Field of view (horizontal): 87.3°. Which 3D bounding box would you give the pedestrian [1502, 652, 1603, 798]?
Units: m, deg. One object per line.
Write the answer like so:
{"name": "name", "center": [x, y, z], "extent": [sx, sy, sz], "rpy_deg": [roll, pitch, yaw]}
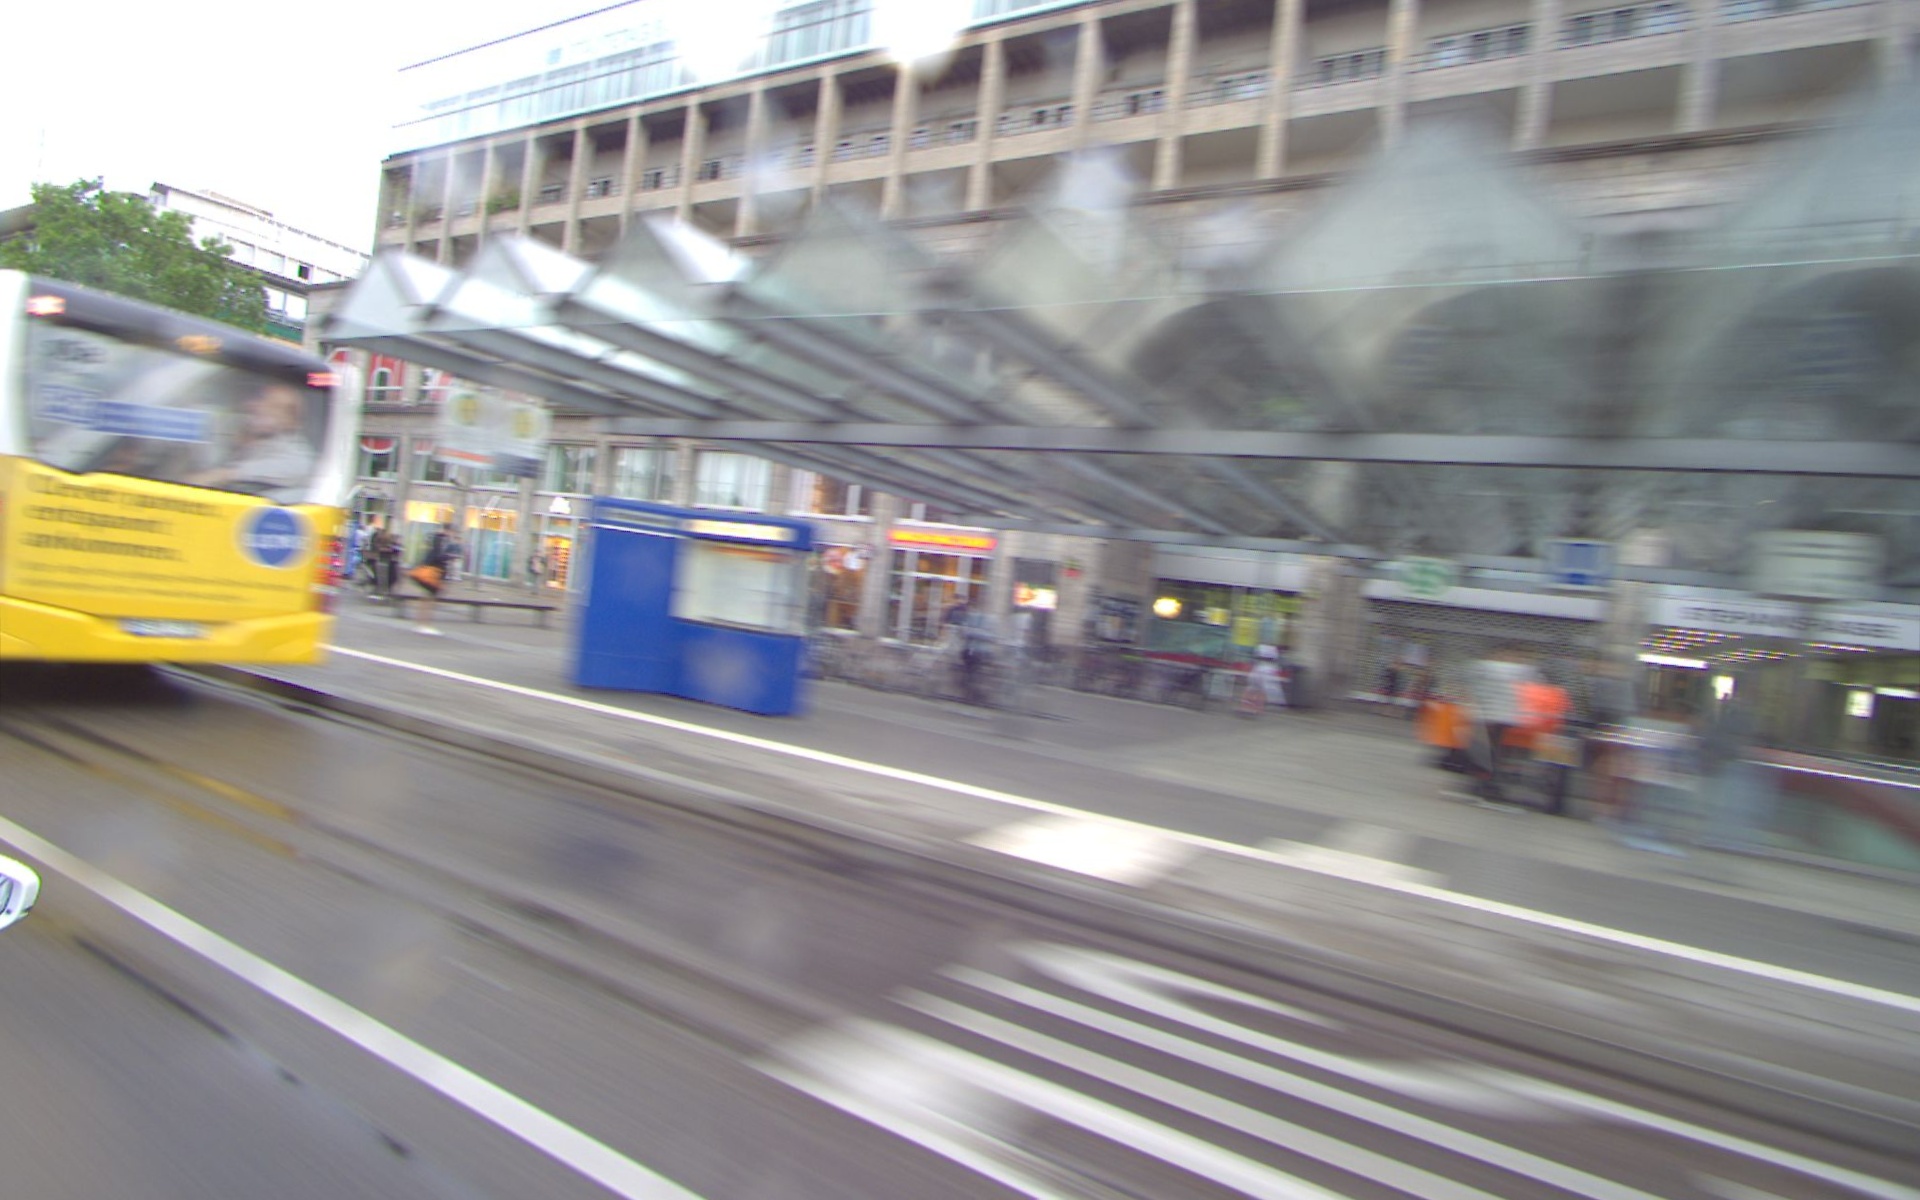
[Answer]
{"name": "pedestrian", "center": [8.162, 1.701, 13.891], "extent": [0.739, 1.853, 0.762], "rpy_deg": [7, 0, 1]}

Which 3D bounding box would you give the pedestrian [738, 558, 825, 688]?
{"name": "pedestrian", "center": [-2.689, 0.343, 15.265], "extent": [0.974, 1.827, 0.789], "rpy_deg": [7, 1, 2]}

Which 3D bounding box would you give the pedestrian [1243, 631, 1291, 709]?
{"name": "pedestrian", "center": [7.272, 1.666, 23.856], "extent": [0.740, 1.731, 0.760], "rpy_deg": [7, 0, 31]}

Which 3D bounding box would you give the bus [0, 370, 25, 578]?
{"name": "bus", "center": [-17.339, -1.963, 14.317], "extent": [9.085, 3.243, 3.120], "rpy_deg": [6, -1, 30]}

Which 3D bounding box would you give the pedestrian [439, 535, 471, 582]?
{"name": "pedestrian", "center": [-20.815, -1.706, 41.464], "extent": [0.775, 1.814, 0.732], "rpy_deg": [7, 1, 30]}

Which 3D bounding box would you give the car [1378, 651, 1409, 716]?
{"name": "car", "center": [10.765, 2.080, 24.982], "extent": [0.464, 1.557, 0.590], "rpy_deg": [7, -1, 33]}

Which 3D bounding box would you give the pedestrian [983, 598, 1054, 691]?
{"name": "pedestrian", "center": [1.160, 0.881, 20.124], "extent": [0.973, 1.715, 0.854], "rpy_deg": [7, 0, -19]}

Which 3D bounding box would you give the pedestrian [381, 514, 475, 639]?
{"name": "pedestrian", "center": [-8.610, -0.373, 16.275], "extent": [0.982, 1.859, 0.825], "rpy_deg": [7, 0, -44]}

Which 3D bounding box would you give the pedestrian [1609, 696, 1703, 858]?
{"name": "pedestrian", "center": [6.529, 1.639, 9.465], "extent": [0.499, 1.394, 0.553], "rpy_deg": [7, 0, 26]}

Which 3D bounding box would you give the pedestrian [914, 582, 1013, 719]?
{"name": "pedestrian", "center": [0.047, 0.682, 13.636], "extent": [0.887, 1.716, 0.749], "rpy_deg": [7, 0, 34]}

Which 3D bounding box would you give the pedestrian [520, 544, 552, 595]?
{"name": "pedestrian", "center": [-15.761, -1.132, 37.396], "extent": [0.776, 1.814, 0.653], "rpy_deg": [7, 1, 34]}

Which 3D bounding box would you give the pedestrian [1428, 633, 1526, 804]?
{"name": "pedestrian", "center": [6.069, 1.383, 11.824], "extent": [0.590, 1.897, 0.587], "rpy_deg": [7, 0, -27]}

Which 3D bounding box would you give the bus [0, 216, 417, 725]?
{"name": "bus", "center": [-9.593, -1.137, 9.780], "extent": [8.981, 3.286, 3.147], "rpy_deg": [6, -1, 31]}

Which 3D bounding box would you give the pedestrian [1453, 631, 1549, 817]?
{"name": "pedestrian", "center": [5.854, 1.326, 10.888], "extent": [0.616, 1.882, 0.606], "rpy_deg": [7, 0, 39]}

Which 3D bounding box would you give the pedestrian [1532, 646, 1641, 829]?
{"name": "pedestrian", "center": [6.801, 1.471, 10.948], "extent": [0.582, 1.853, 0.607], "rpy_deg": [7, 0, 1]}

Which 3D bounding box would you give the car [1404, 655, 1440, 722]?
{"name": "car", "center": [11.246, 2.152, 24.494], "extent": [0.558, 1.557, 0.590], "rpy_deg": [7, -1, 33]}

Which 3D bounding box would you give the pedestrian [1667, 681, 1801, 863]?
{"name": "pedestrian", "center": [7.666, 1.664, 10.003], "extent": [0.748, 1.627, 0.752], "rpy_deg": [7, 0, 26]}
